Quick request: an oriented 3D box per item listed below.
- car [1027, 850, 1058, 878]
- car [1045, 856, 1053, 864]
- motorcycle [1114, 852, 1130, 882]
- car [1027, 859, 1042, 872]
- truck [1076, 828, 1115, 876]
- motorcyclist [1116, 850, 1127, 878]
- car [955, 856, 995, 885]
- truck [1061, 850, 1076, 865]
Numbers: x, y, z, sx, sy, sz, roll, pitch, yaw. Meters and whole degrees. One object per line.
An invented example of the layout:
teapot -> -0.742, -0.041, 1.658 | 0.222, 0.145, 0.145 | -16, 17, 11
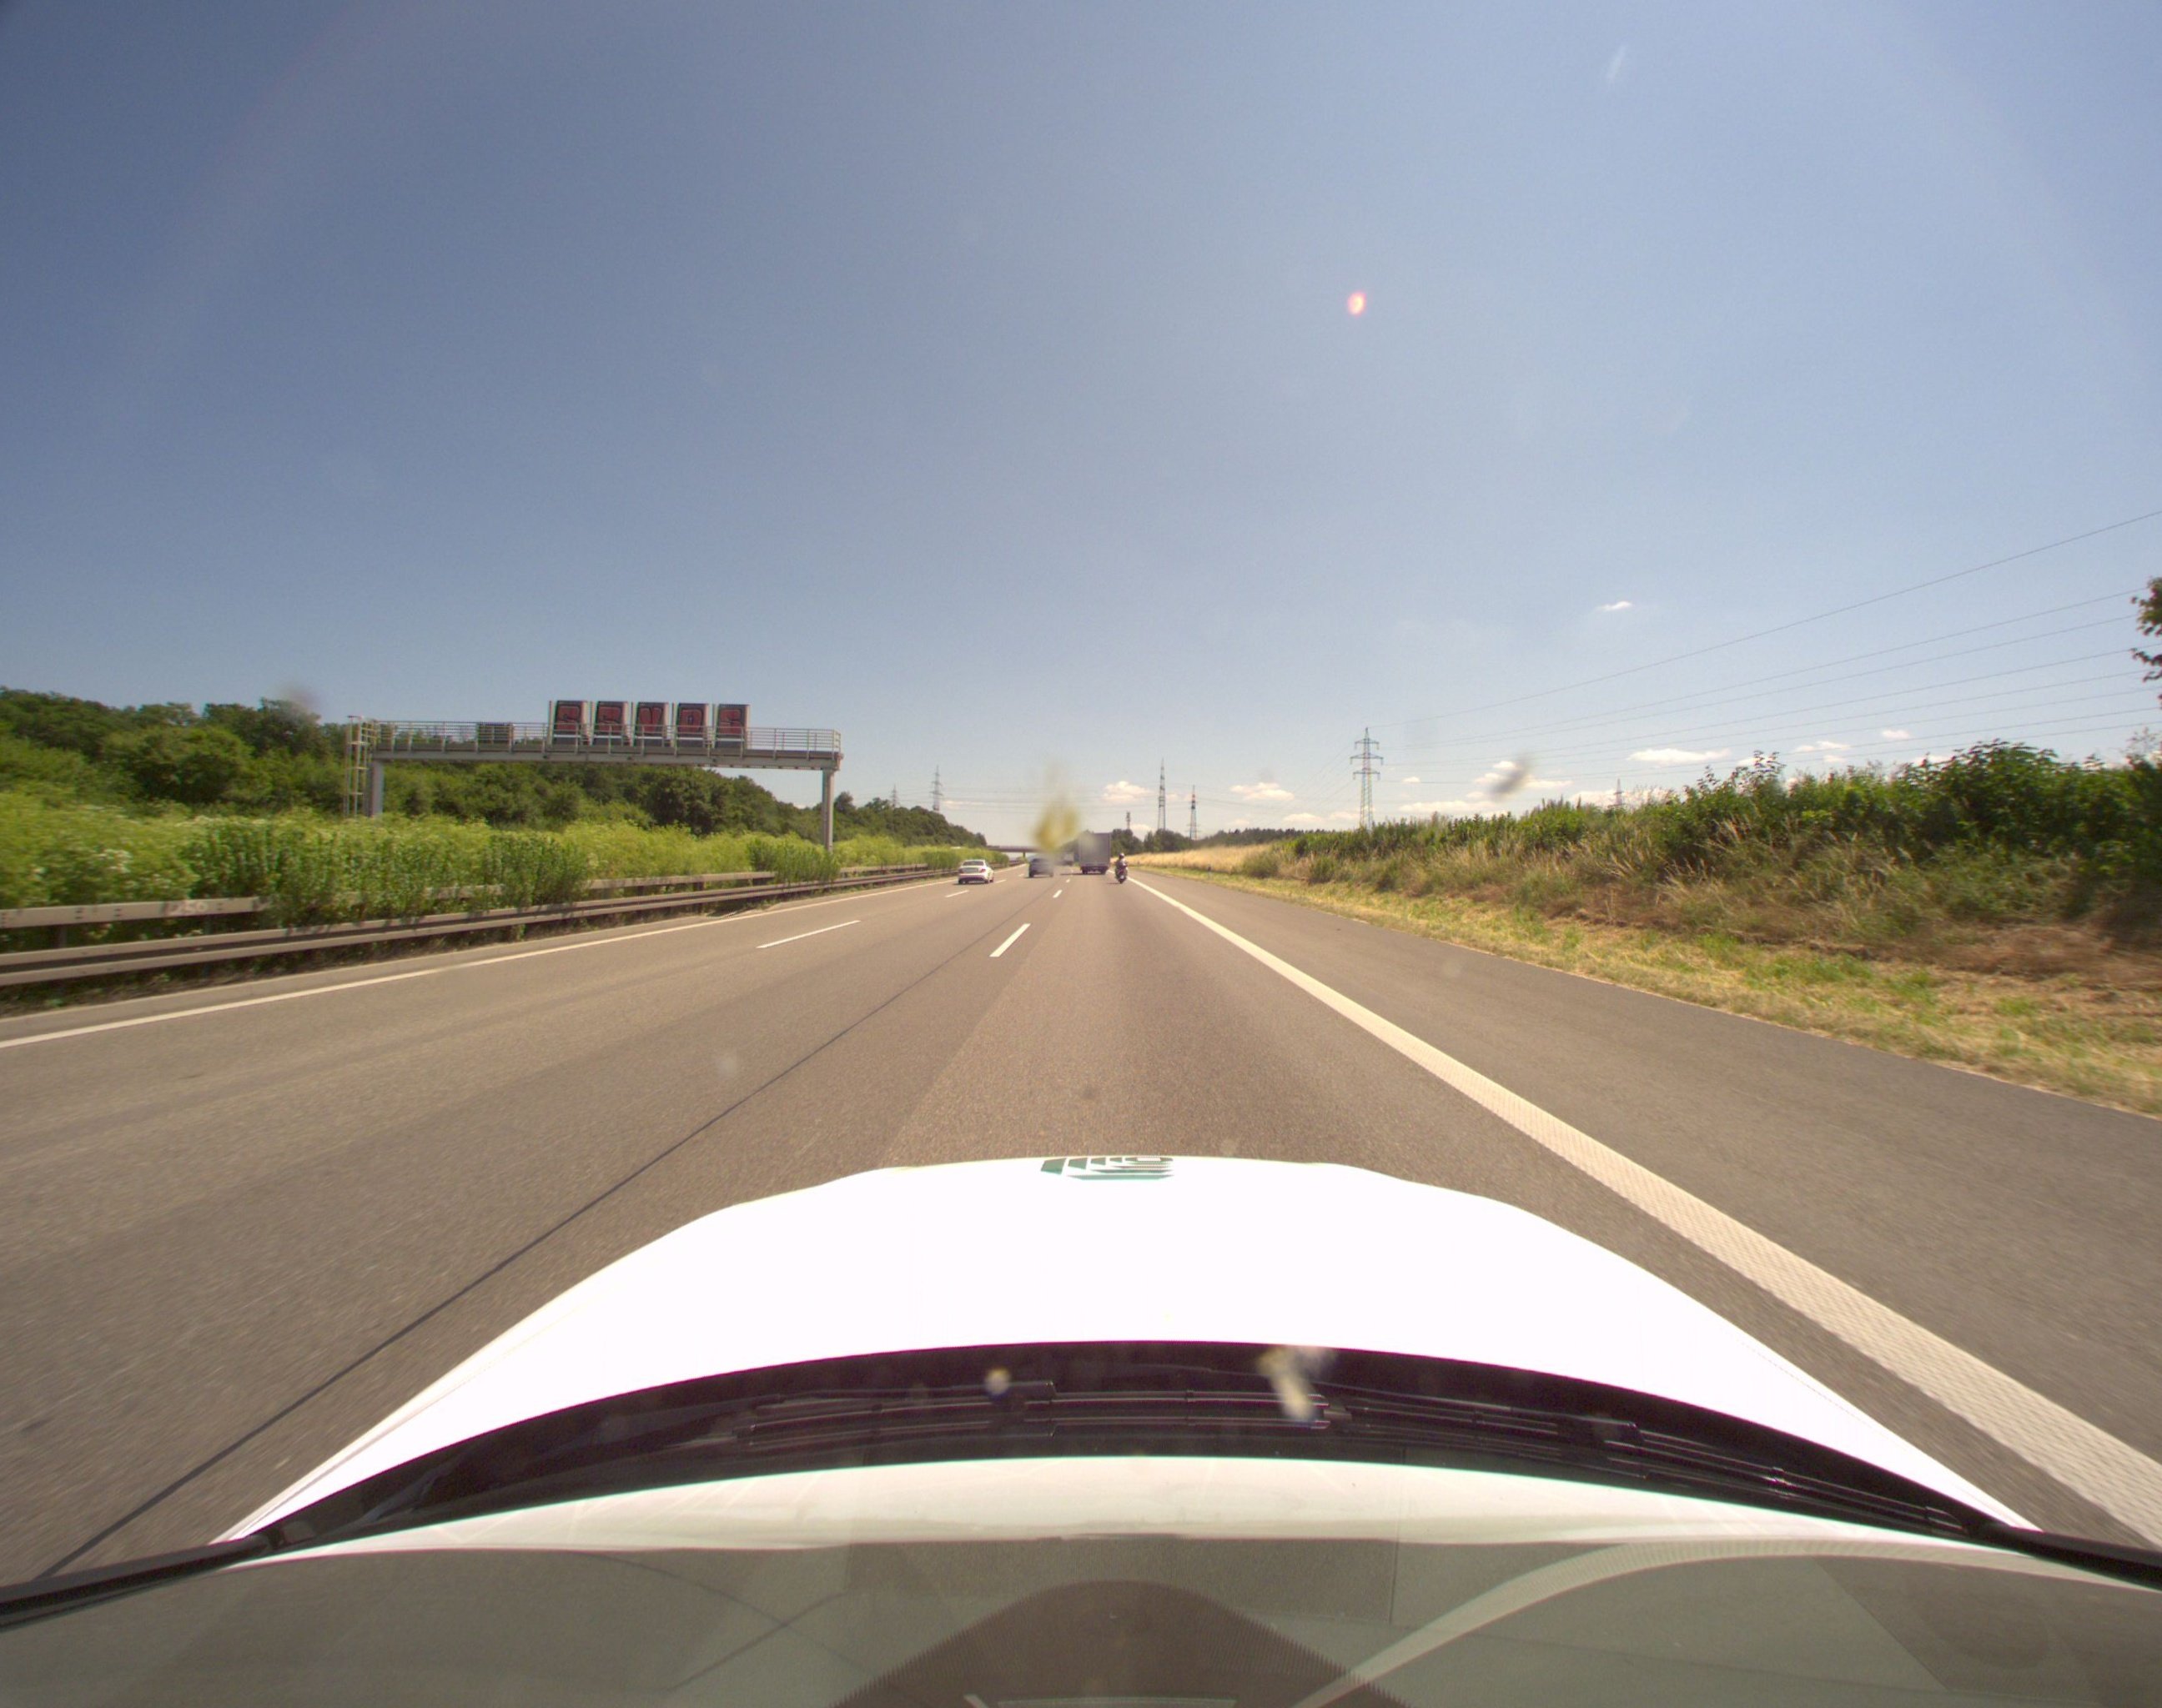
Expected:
car -> -2.891, 0.740, 61.724 | 1.986, 2.013, 4.002 | -1, 0, 2
car -> -8.685, 1.618, 221.546 | 1.896, 1.925, 3.998 | -1, 0, -1
motorcycle -> 2.281, 0.709, 45.194 | 0.807, 1.607, 1.783 | -1, 0, 1
car -> -5.738, 1.429, 101.454 | 1.752, 1.429, 3.997 | -1, 0, -2
truck -> 1.339, -0.168, 72.411 | 3.209, 3.924, 9.063 | -1, 0, 1
motorcyclist -> 2.231, 0.546, 45.127 | 0.570, 1.479, 0.700 | -1, 0, 1
car -> -6.245, 0.941, 48.411 | 1.814, 1.540, 3.914 | -1, 0, 0
truck -> -3.208, 0.887, 208.663 | 3.475, 3.912, 7.284 | -1, 0, -2
